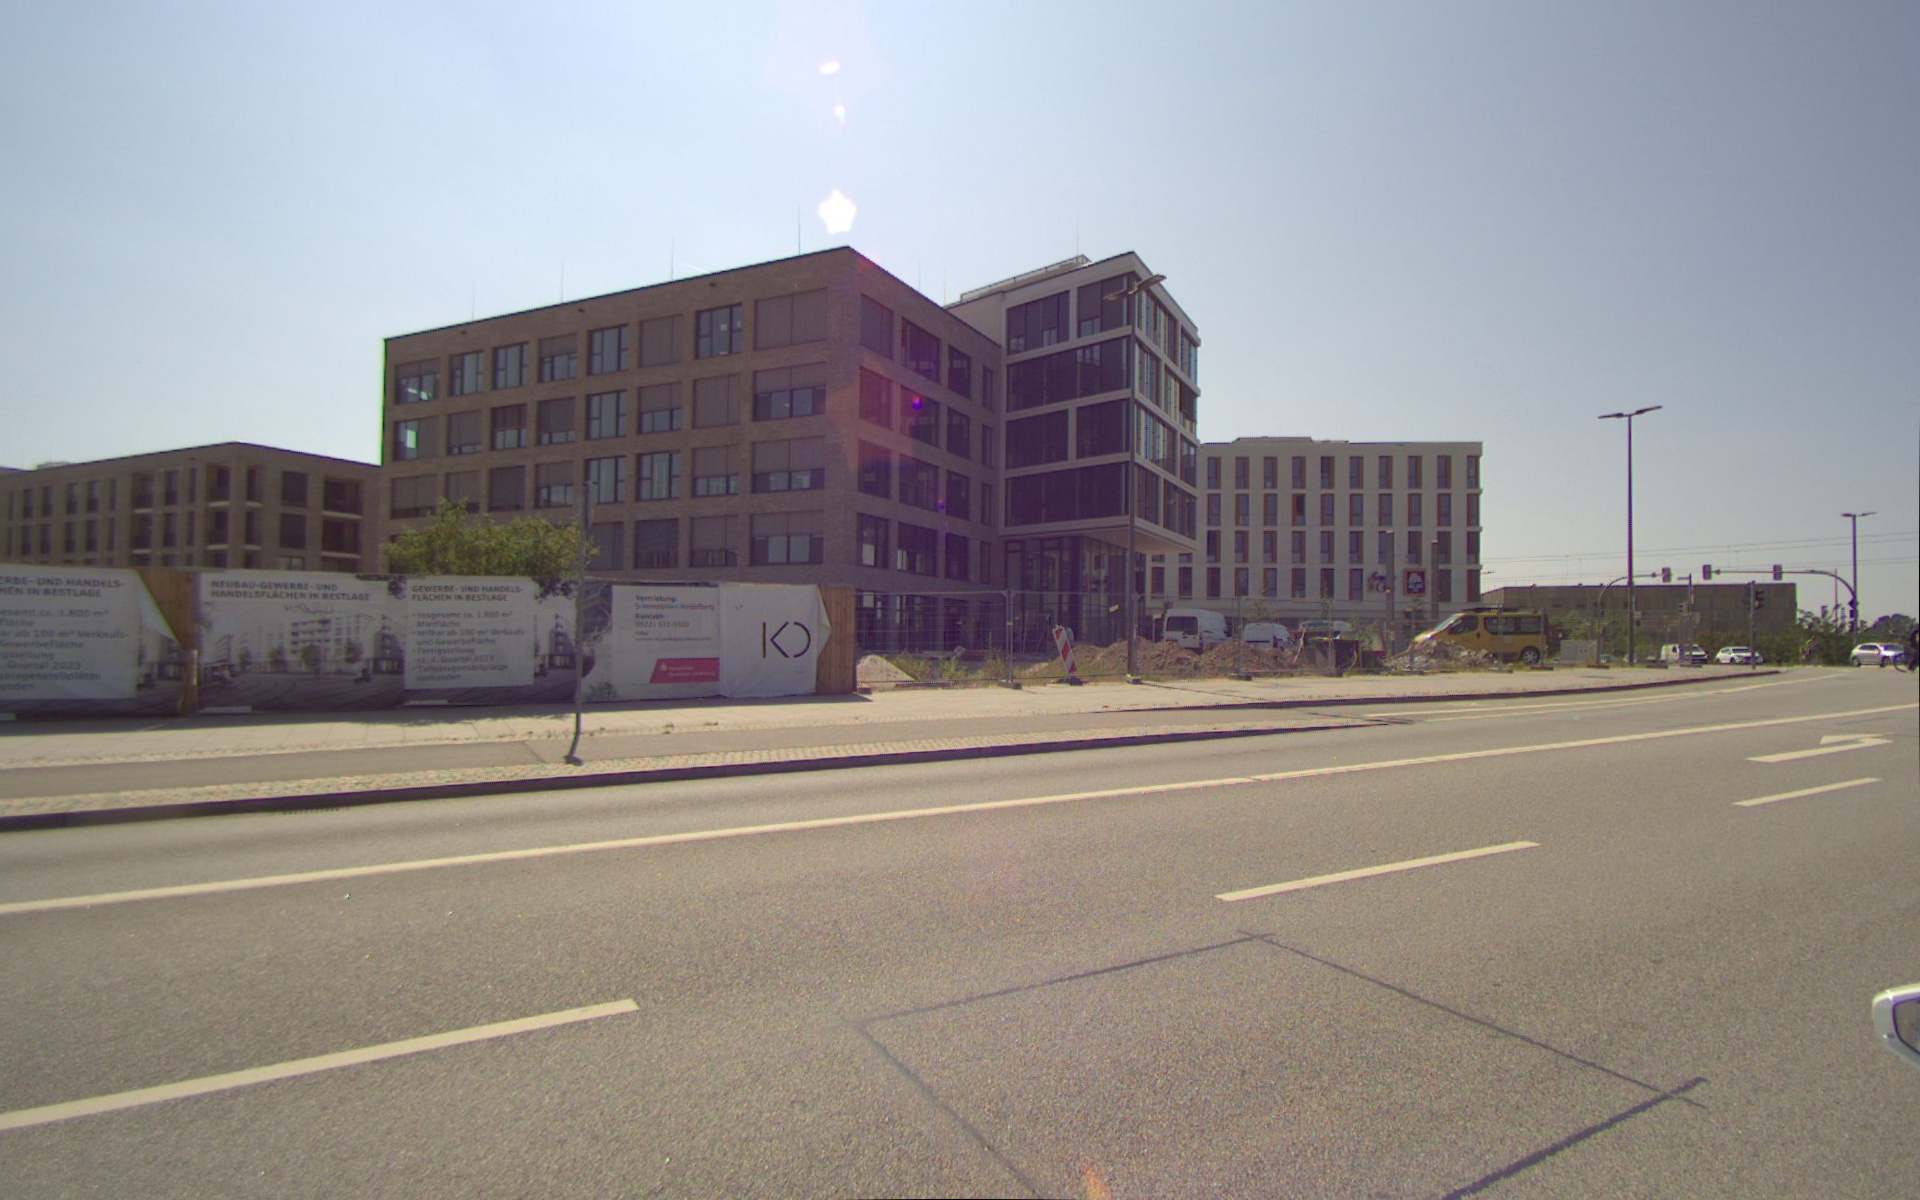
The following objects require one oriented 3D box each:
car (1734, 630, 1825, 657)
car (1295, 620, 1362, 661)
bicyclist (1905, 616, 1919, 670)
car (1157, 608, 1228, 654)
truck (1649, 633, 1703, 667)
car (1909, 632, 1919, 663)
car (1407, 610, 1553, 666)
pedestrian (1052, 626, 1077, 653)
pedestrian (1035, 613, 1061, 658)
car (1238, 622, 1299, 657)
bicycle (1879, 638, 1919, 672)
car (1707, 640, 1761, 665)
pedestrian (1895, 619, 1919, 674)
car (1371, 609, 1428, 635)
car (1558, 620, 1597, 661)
[{"bbox_3d":[50.010,2.628,61.364,1.655,1.571,3.958,2,-3,-28],"label":"car"},{"bbox_3d":[16.993,1.813,46.178,1.967,1.730,4.550,1,0,32],"label":"car"},{"bbox_3d":[34.342,1.537,36.021,0.632,1.912,0.588,2,0,-43],"label":"bicyclist"},{"bbox_3d":[11.308,1.488,48.734,2.175,2.083,4.164,1,0,30],"label":"car"},{"bbox_3d":[57.493,3.977,80.759,1.960,2.574,4.711,1,-1,15],"label":"truck"},{"bbox_3d":[52.621,2.499,52.681,1.789,1.604,3.738,-3,0,-24],"label":"car"},{"bbox_3d":[19.403,1.389,37.669,4.395,1.915,2.001,2,0,9],"label":"car"},{"bbox_3d":[5.550,2.128,53.514,1.098,1.391,0.742,2,0,-16],"label":"pedestrian"},{"bbox_3d":[4.152,1.671,47.440,0.949,2.040,0.940,2,0,-16],"label":"pedestrian"},{"bbox_3d":[14.596,1.828,47.469,1.774,1.528,3.991,1,0,32],"label":"car"},{"bbox_3d":[34.358,1.984,35.999,0.551,1.193,2.061,2,0,-43],"label":"bicycle"},{"bbox_3d":[60.789,4.104,78.956,1.893,1.839,4.049,1,-1,13],"label":"car"},{"bbox_3d":[33.382,1.636,35.150,0.744,1.888,0.737,2,0,-27],"label":"pedestrian"},{"bbox_3d":[37.385,1.840,85.441,1.986,2.040,3.950,2,0,-42],"label":"car"},{"bbox_3d":[33.005,2.119,53.726,1.646,2.040,3.992,1,0,30],"label":"car"}]
